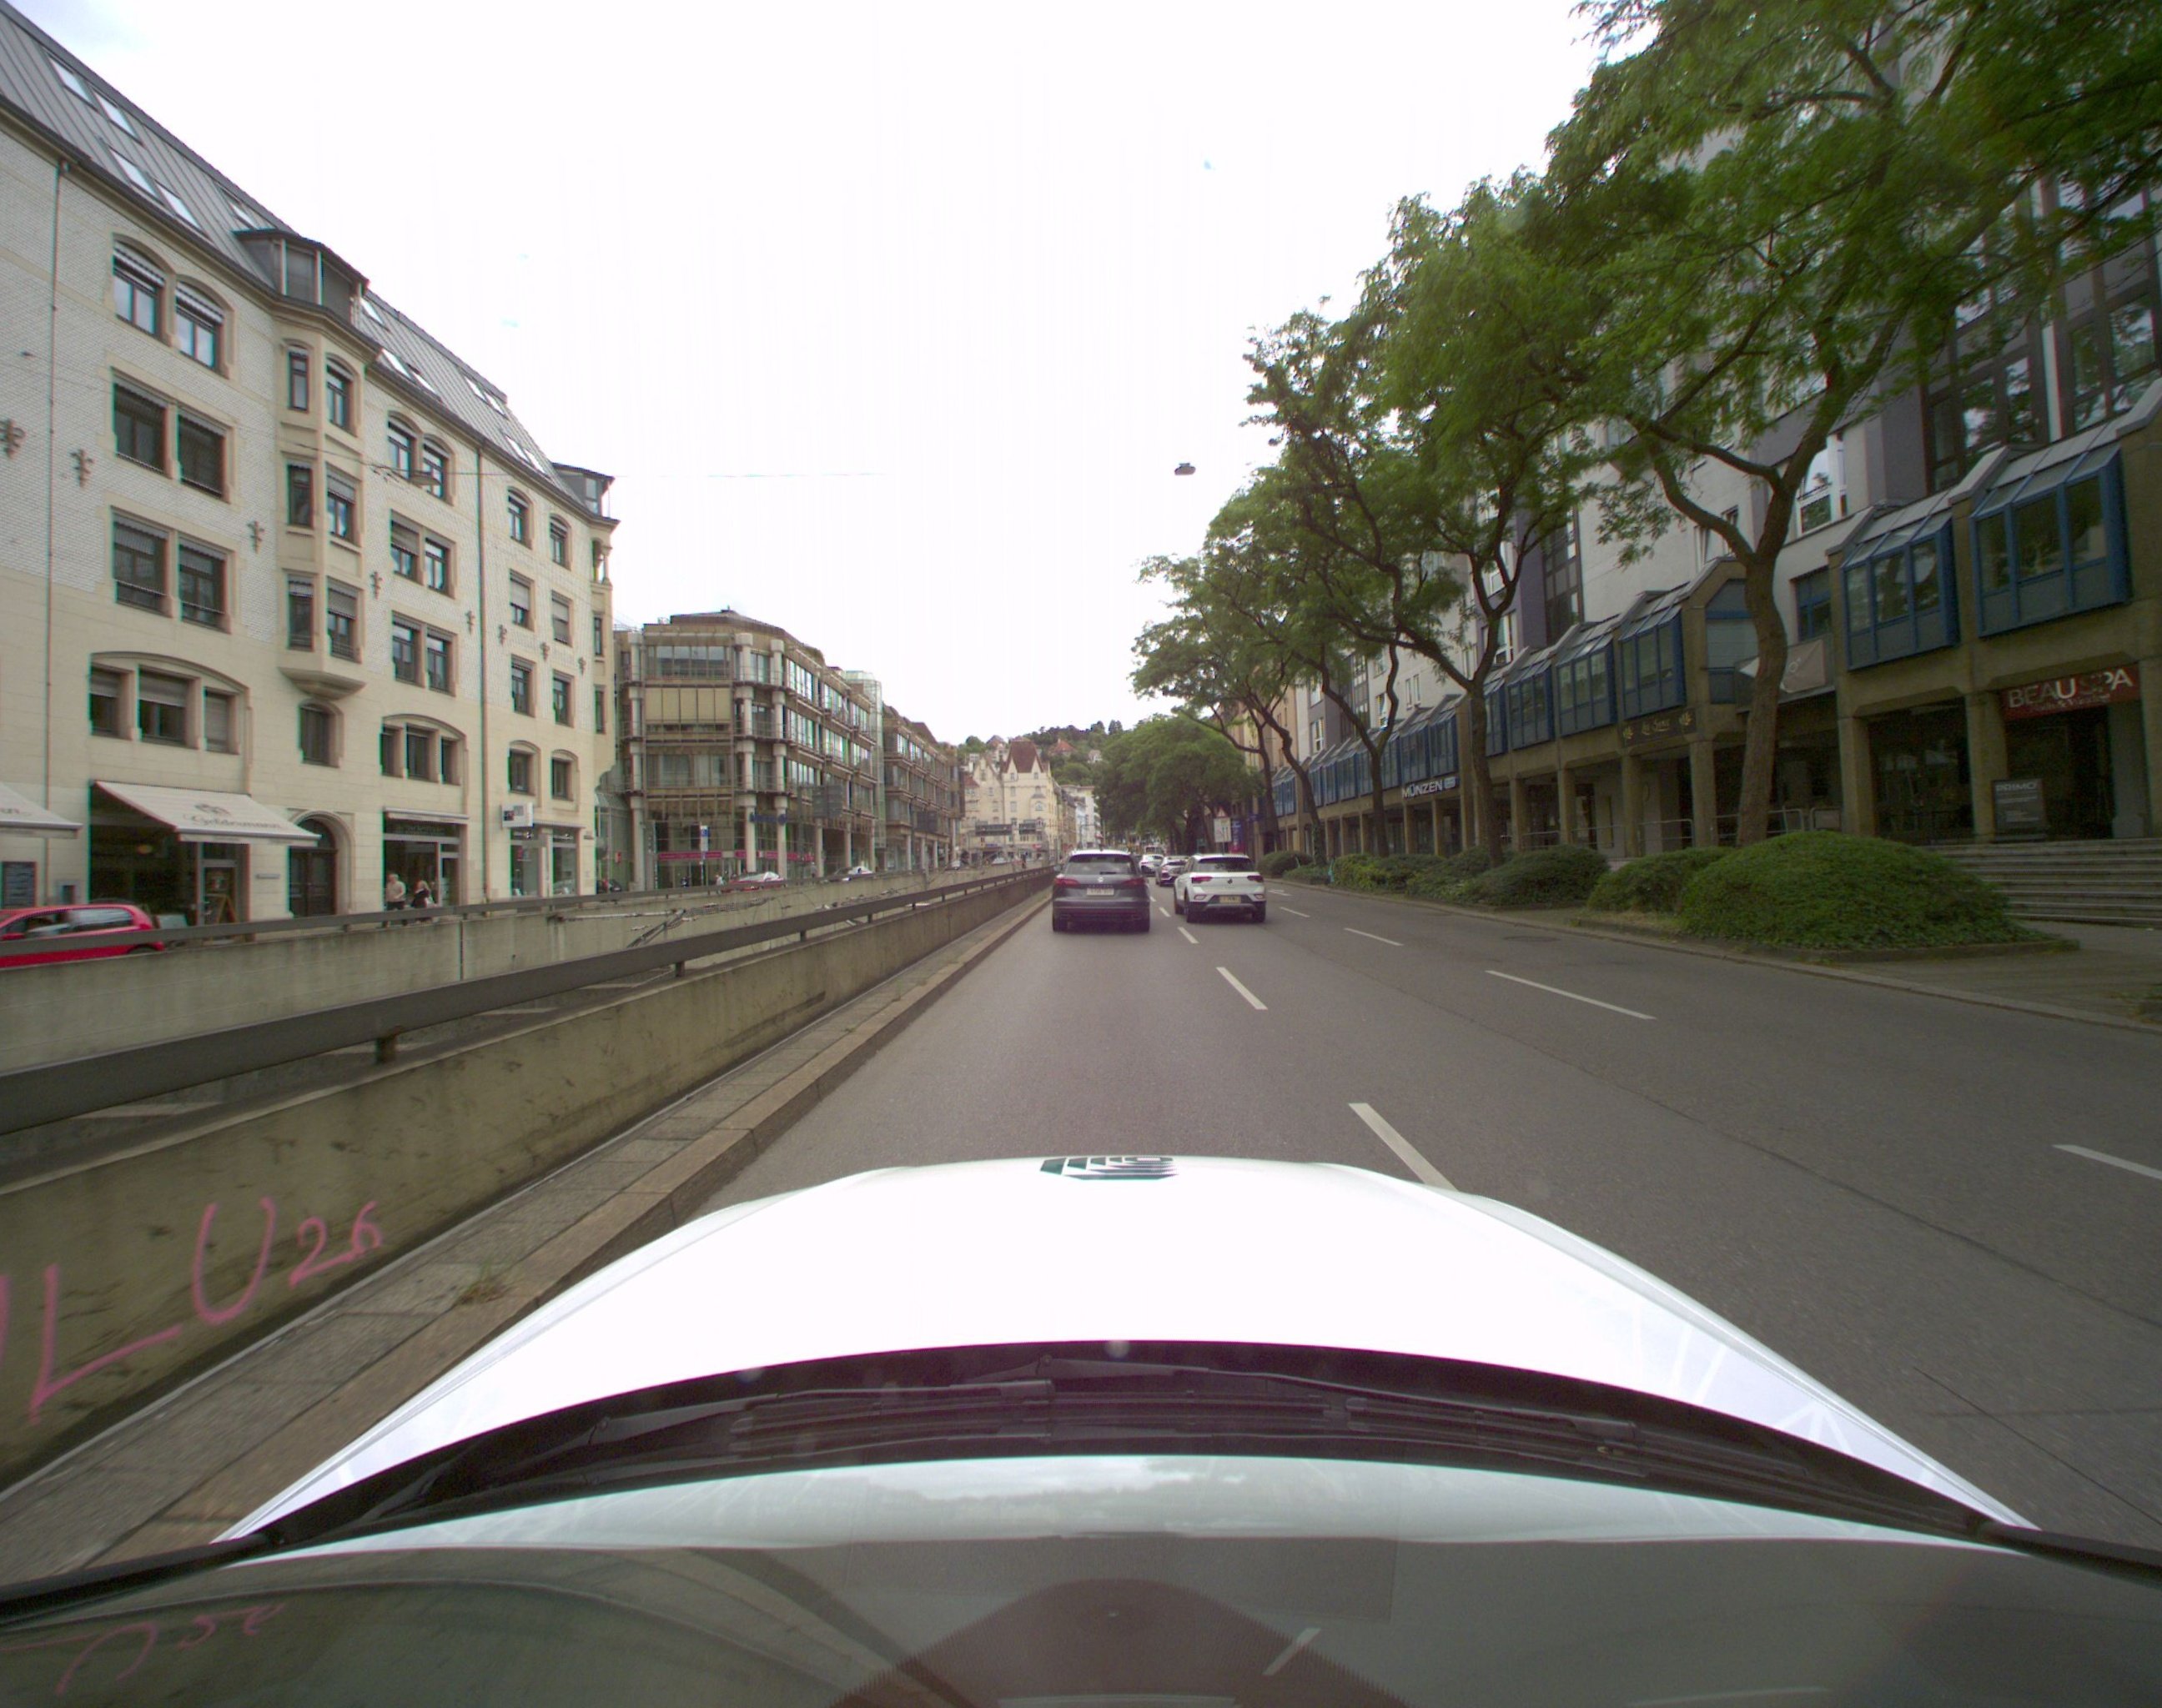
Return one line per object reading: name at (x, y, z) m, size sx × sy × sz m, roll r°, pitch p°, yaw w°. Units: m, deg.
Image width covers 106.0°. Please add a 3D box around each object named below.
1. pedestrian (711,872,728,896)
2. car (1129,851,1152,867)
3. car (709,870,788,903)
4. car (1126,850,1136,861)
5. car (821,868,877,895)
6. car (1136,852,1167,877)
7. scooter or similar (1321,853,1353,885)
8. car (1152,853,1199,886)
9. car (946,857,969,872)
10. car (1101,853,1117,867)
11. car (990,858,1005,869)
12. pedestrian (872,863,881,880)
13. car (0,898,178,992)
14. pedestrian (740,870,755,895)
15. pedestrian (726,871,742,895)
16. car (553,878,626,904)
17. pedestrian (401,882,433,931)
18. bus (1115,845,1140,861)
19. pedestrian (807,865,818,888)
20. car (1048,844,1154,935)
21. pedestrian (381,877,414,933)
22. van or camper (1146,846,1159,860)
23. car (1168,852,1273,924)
pedestrian at (-23.662, 1.950, 53.337) m, size 0.699 × 1.544 × 0.845 m, roll -2°, pitch 0°, yaw -6°
car at (5.573, 0.505, 76.394) m, size 1.826 × 1.363 × 3.767 m, roll -3°, pitch 0°, yaw 1°
car at (-17.428, 1.668, 43.004) m, size 1.986 × 1.464 × 4.887 m, roll -2°, pitch 0°, yaw 1°
car at (9.273, 0.331, 151.279) m, size 1.824 × 1.874 × 4.874 m, roll -3°, pitch 0°, yaw 3°
car at (-15.392, 1.798, 54.331) m, size 1.984 × 1.585 × 4.893 m, roll -2°, pitch 0°, yaw 4°
car at (4.638, 0.692, 54.034) m, size 1.825 × 1.517 × 3.769 m, roll -3°, pitch 0°, yaw 2°
scooter or similar at (10.109, 0.580, 32.144) m, size 1.100 × 1.181 × 0.429 m, roll -4°, pitch 0°, yaw 11°
car at (4.430, 0.734, 38.641) m, size 1.826 × 1.432 × 4.149 m, roll -1°, pitch -1°, yaw 2°
car at (-15.318, 1.269, 100.828) m, size 1.986 × 1.768 × 4.282 m, roll -2°, pitch 0°, yaw 2°
car at (3.516, 0.760, 102.188) m, size 1.826 × 1.567 × 3.766 m, roll -3°, pitch 0°, yaw 0°
car at (-14.011, 1.522, 136.648) m, size 1.986 × 1.768 × 4.282 m, roll -2°, pitch 0°, yaw 2°
pedestrian at (-22.602, 1.923, 90.057) m, size 0.773 × 1.824 × 0.711 m, roll -2°, pitch 0°, yaw -8°
car at (-18.586, 1.594, 14.122) m, size 1.781 × 1.406 × 3.583 m, roll -2°, pitch 0°, yaw 0°
pedestrian at (-21.923, 1.868, 53.542) m, size 0.699 × 1.544 × 0.845 m, roll -2°, pitch 0°, yaw -6°
pedestrian at (-22.786, 1.906, 53.440) m, size 0.699 × 1.544 × 0.845 m, roll -2°, pitch 0°, yaw -6°
car at (-30.387, 2.277, 50.423) m, size 3.433 × 1.436 × 1.650 m, roll -2°, pitch 0°, yaw 1°
pedestrian at (-21.539, 1.692, 26.441) m, size 0.477 × 1.537 × 0.584 m, roll -3°, pitch 0°, yaw 4°
bus at (11.154, -0.310, 193.750) m, size 3.826 × 3.532 × 17.291 m, roll -2°, pitch 0°, yaw 9°
pedestrian at (-21.609, 1.821, 65.546) m, size 0.530 × 1.793 × 0.695 m, roll -1°, pitch -1°, yaw 2°
car at (0.302, 0.666, 17.419) m, size 1.965 × 1.695 × 4.220 m, roll 1°, pitch 0°, yaw -3°
pedestrian at (-22.147, 1.633, 26.394) m, size 0.477 × 1.757 × 0.584 m, roll -3°, pitch 0°, yaw 2°
van or camper at (16.123, -0.251, 184.544) m, size 2.613 × 3.178 × 5.814 m, roll -2°, pitch 0°, yaw 7°
car at (3.221, 0.723, 19.506) m, size 1.792 × 1.545 × 3.934 m, roll 0°, pitch 0°, yaw -1°
